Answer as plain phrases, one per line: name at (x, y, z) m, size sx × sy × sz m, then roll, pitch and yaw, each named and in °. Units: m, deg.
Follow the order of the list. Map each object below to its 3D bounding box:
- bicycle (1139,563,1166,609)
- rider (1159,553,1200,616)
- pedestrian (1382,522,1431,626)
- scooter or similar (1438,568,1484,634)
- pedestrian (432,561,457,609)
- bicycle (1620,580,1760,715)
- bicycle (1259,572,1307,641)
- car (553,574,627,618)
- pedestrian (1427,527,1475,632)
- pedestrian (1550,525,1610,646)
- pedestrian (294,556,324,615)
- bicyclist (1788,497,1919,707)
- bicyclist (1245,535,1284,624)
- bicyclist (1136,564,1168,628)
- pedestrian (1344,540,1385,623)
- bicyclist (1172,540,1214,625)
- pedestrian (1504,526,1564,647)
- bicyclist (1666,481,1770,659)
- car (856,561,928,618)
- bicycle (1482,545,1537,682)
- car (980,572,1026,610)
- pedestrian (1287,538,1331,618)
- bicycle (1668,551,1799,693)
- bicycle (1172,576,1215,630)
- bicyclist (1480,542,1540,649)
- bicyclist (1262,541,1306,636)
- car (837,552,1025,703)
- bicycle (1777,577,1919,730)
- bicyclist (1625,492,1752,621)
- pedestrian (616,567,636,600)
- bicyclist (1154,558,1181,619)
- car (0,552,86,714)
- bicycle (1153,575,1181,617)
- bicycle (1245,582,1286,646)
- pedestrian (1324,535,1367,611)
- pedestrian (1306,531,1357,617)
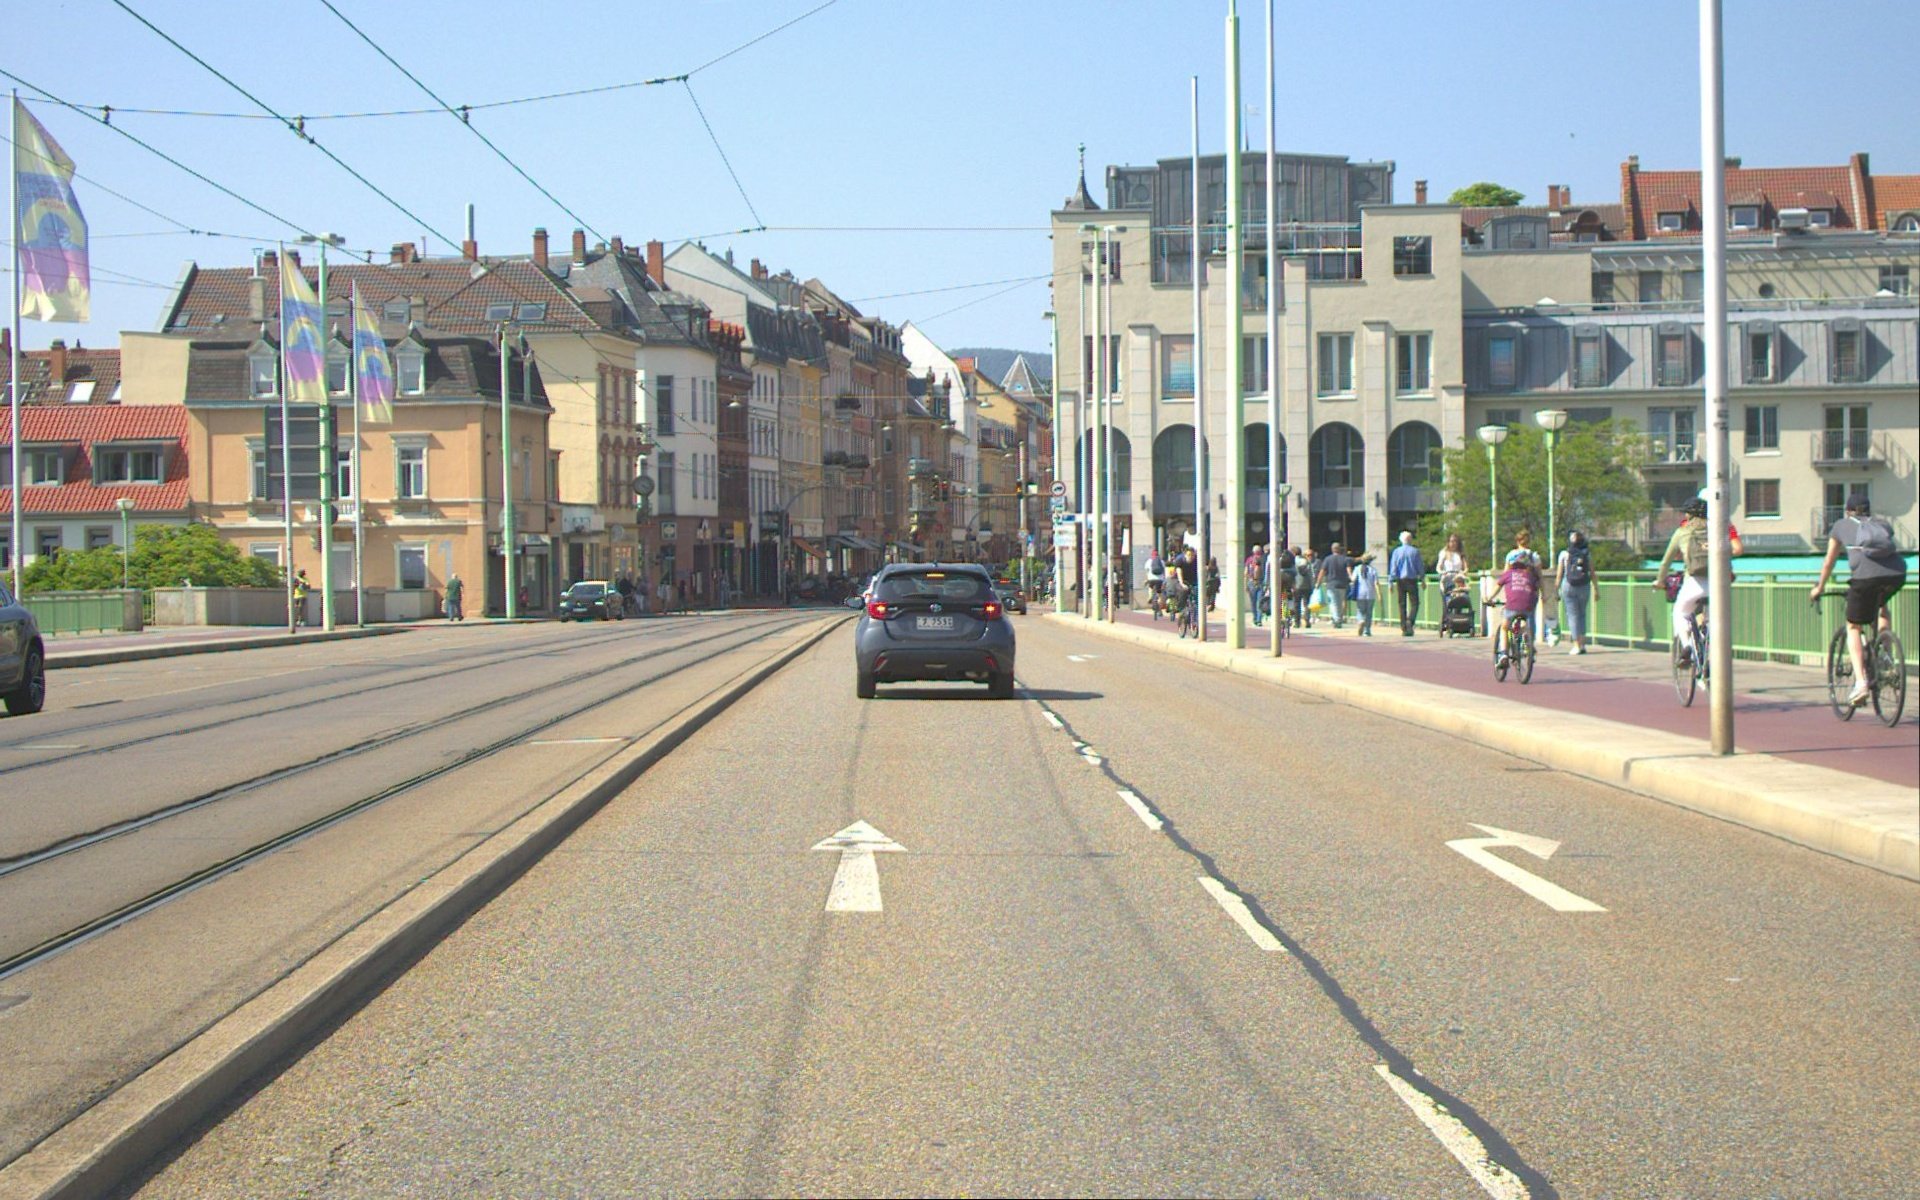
bicycle at (5.110, -0.378, 91.154) m, size 0.666 × 1.174 × 2.029 m, roll 0°, pitch 1°, yaw 2°
rider at (5.275, -0.370, 82.636) m, size 0.889 × 1.499 × 0.841 m, roll -1°, pitch 1°, yaw -2°
pedestrian at (7.783, -0.458, 59.928) m, size 0.712 × 1.804 × 0.848 m, roll 0°, pitch 1°, yaw -1°
scooter or similar at (8.308, 0.014, 56.995) m, size 0.588 × 1.065 × 0.865 m, roll -1°, pitch 1°, yaw -3°
pedestrian at (-18.098, -0.535, 120.659) m, size 0.763 × 1.659 × 0.663 m, roll 0°, pitch 1°, yaw 2°
bicycle at (5.954, 0.368, 28.143) m, size 0.618 × 1.034 × 2.051 m, roll -1°, pitch 1°, yaw -3°
bicycle at (5.750, 0.108, 61.217) m, size 0.593 × 1.174 × 1.940 m, roll -1°, pitch 1°, yaw -2°
car at (-13.298, -0.152, 123.698) m, size 1.994 × 1.474 × 4.000 m, roll 0°, pitch 1°, yaw 3°
pedestrian at (8.263, -0.354, 57.861) m, size 0.641 × 1.750 × 0.867 m, roll -1°, pitch 1°, yaw -3°
pedestrian at (8.214, -0.201, 45.582) m, size 0.599 × 1.580 × 0.867 m, roll -1°, pitch 1°, yaw -3°
pedestrian at (-19.752, -0.435, 104.341) m, size 0.763 × 1.780 × 0.663 m, roll 0°, pitch 1°, yaw 2°
bicyclist at (6.547, 0.005, 25.072) m, size 0.735 × 1.495 × 0.980 m, roll -1°, pitch 1°, yaw -3°
bicyclist at (5.821, -0.400, 65.703) m, size 0.627 × 1.683 × 0.869 m, roll -1°, pitch 1°, yaw -2°
bicyclist at (5.077, -0.096, 91.130) m, size 0.796 × 1.670 × 0.869 m, roll 1°, pitch 0°, yaw 2°
pedestrian at (7.176, -0.332, 61.010) m, size 0.613 × 1.460 × 0.848 m, roll 0°, pitch 1°, yaw -1°
bicyclist at (4.392, -0.331, 64.934) m, size 0.653 × 1.561 × 1.338 m, roll -2°, pitch 0°, yaw 1°
pedestrian at (7.605, -0.191, 45.553) m, size 0.599 × 1.580 × 0.867 m, roll -1°, pitch 1°, yaw -3°
bicyclist at (7.068, -0.287, 32.093) m, size 0.735 × 1.630 × 0.867 m, roll -1°, pitch 1°, yaw -3°
car at (-1.908, -0.302, 95.588) m, size 1.803 × 1.464 × 4.001 m, roll -2°, pitch 1°, yaw -4°
bicycle at (5.686, 0.117, 35.626) m, size 0.534 × 1.362 × 2.215 m, roll 0°, pitch 1°, yaw 9°
car at (1.786, -0.392, 142.289) m, size 1.804 × 1.464 × 4.000 m, roll -2°, pitch 1°, yaw 1°
pedestrian at (7.377, -0.468, 72.713) m, size 0.834 × 1.683 × 0.869 m, roll 0°, pitch 1°, yaw -1°
bicycle at (7.184, 0.181, 32.021) m, size 0.618 × 1.266 × 2.216 m, roll -1°, pitch 1°, yaw -3°
bicycle at (4.402, 0.049, 64.872) m, size 0.653 × 0.978 × 2.178 m, roll -2°, pitch 0°, yaw 1°
bicyclist at (5.707, -0.052, 35.659) m, size 0.599 × 1.098 × 0.852 m, roll 0°, pitch 1°, yaw 9°
bicyclist at (5.744, -0.216, 61.026) m, size 0.656 × 1.670 × 0.869 m, roll -1°, pitch 1°, yaw -2°
car at (-0.379, 0.264, 38.728) m, size 1.910 × 1.535 × 4.001 m, roll 0°, pitch 2°, yaw -3°
bicycle at (6.609, 0.366, 25.178) m, size 0.618 × 1.034 × 2.267 m, roll -1°, pitch 1°, yaw -3°
bicyclist at (5.945, -0.357, 28.099) m, size 0.735 × 1.027 × 1.175 m, roll -1°, pitch 1°, yaw -3°
pedestrian at (-14.070, -0.686, 144.923) m, size 0.763 × 1.393 × 0.663 m, roll 0°, pitch 1°, yaw 2°
bicyclist at (5.261, -0.302, 87.282) m, size 0.651 × 1.524 × 0.975 m, roll 0°, pitch 1°, yaw 2°
car at (-10.461, 0.335, 34.272) m, size 1.994 × 1.594 × 4.337 m, roll 0°, pitch 1°, yaw 6°
bicycle at (5.262, -0.110, 87.431) m, size 0.666 × 1.046 × 2.029 m, roll 0°, pitch 1°, yaw 2°
bicycle at (5.834, 0.254, 65.774) m, size 0.526 × 1.174 × 2.029 m, roll -1°, pitch 1°, yaw -2°
pedestrian at (8.583, -0.606, 76.620) m, size 0.834 × 1.683 × 0.869 m, roll 0°, pitch 1°, yaw -1°
pedestrian at (7.668, -0.544, 71.068) m, size 0.929 × 1.755 × 0.938 m, roll 0°, pitch 1°, yaw -1°
